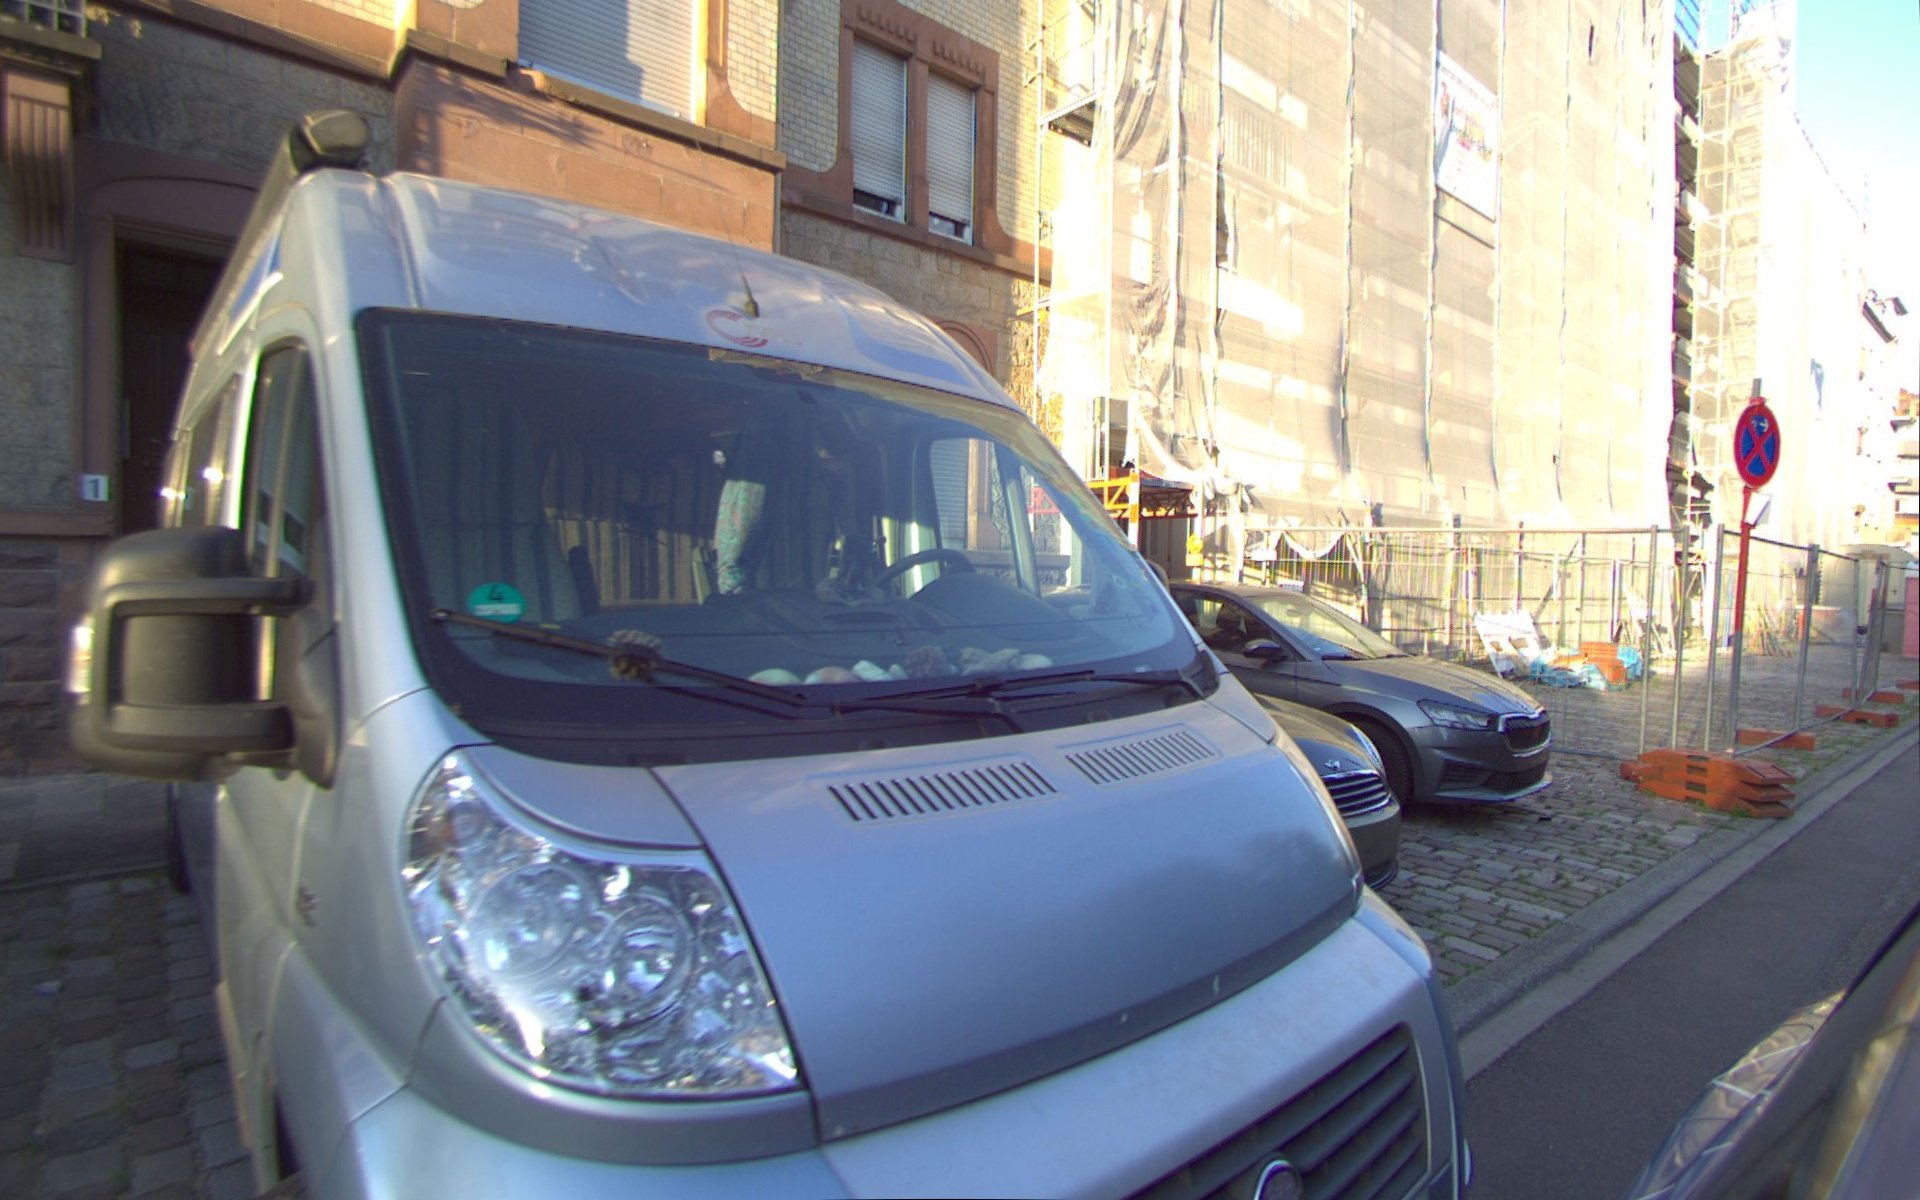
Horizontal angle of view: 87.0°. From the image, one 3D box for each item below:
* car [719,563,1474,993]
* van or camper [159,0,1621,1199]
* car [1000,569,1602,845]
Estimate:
[{"bbox_3d":[0.324,0.555,5.839,1.655,1.458,4.416,-1,3,-38],"label":"car"},{"bbox_3d":[-1.487,0.017,3.625,2.014,2.534,6.073,0,3,-40],"label":"van or camper"},{"bbox_3d":[2.300,0.533,7.708,1.656,1.458,4.056,-2,3,-41],"label":"car"}]
